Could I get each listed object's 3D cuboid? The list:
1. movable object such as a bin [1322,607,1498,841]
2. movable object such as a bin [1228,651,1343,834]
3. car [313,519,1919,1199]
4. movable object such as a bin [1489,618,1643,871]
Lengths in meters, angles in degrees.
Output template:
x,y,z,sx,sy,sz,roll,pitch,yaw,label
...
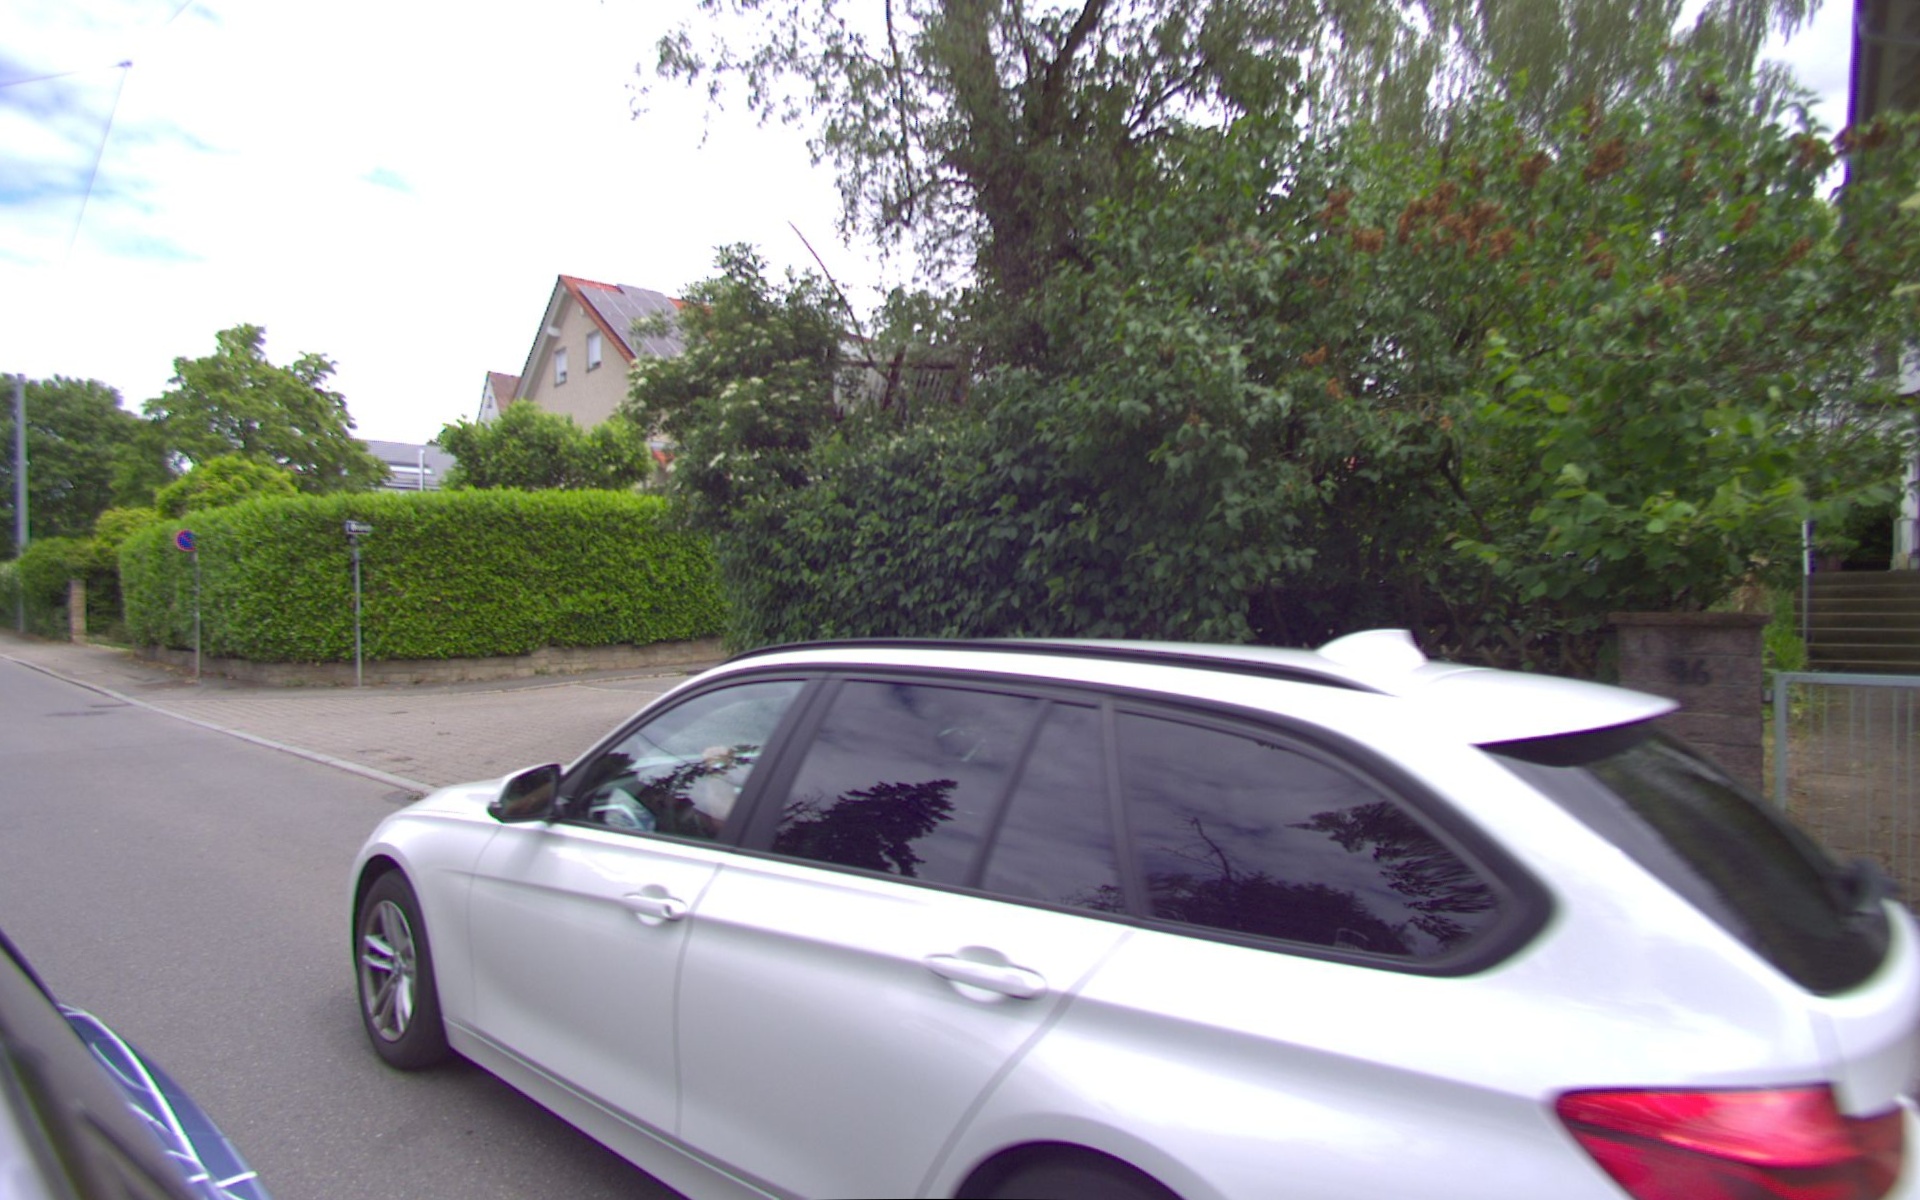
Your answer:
x,y,z,sx,sy,sz,roll,pitch,yaw,label
2.505,0.634,5.617,0.722,1.134,0.721,-1,3,38,movable object such as a bin
1.886,0.798,5.862,0.511,0.958,0.375,-1,3,38,movable object such as a bin
-0.059,0.686,2.901,4.297,1.442,1.787,0,-2,40,car
3.109,0.681,5.174,0.584,1.125,0.721,-1,3,38,movable object such as a bin
